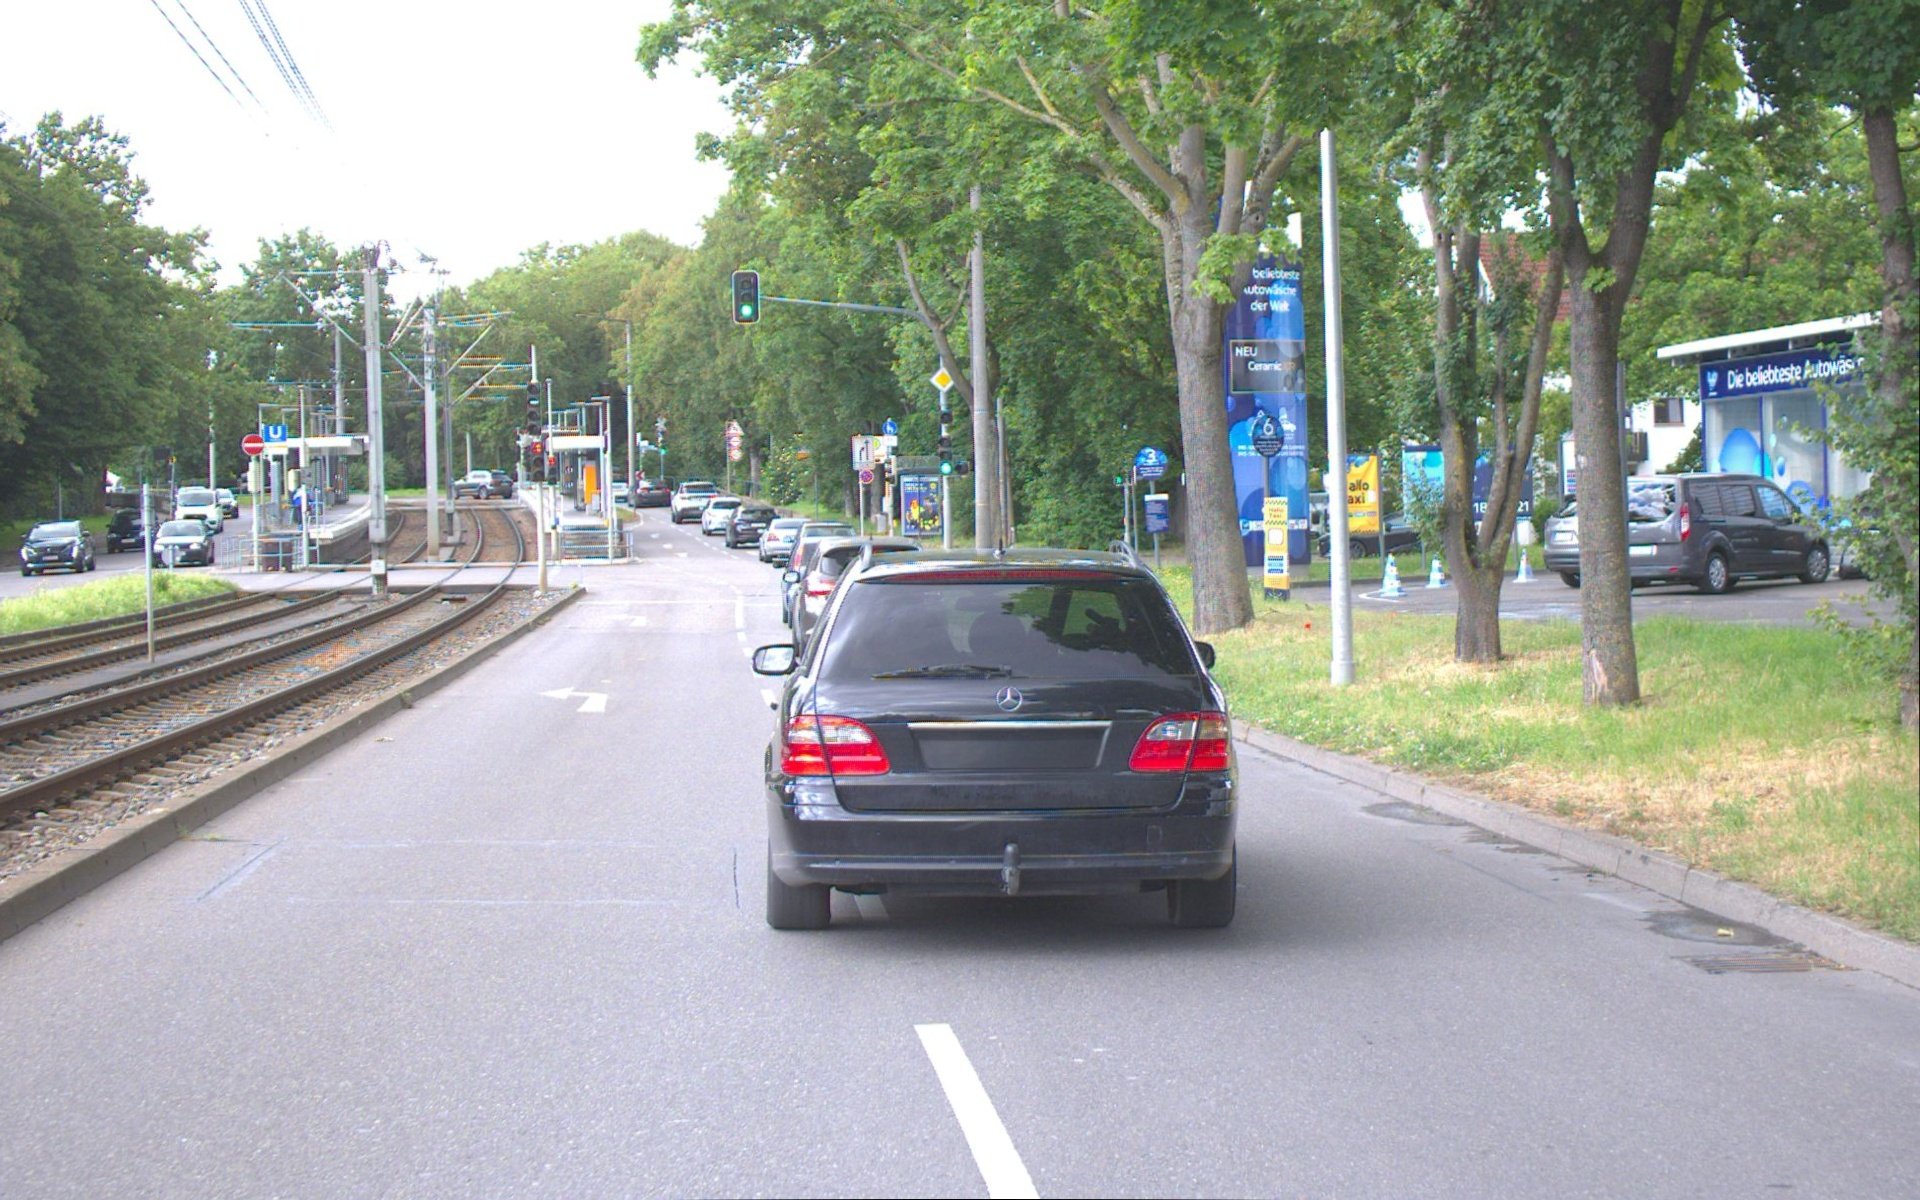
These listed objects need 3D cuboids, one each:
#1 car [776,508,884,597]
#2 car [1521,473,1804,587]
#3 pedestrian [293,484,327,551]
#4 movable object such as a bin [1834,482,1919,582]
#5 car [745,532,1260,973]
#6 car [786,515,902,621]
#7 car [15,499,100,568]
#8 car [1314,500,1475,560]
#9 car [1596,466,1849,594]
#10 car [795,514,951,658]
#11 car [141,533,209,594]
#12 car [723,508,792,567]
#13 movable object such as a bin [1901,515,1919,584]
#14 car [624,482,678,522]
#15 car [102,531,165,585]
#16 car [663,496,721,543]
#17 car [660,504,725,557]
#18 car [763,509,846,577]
[{"bbox_3d":[-2.960,-1.077,77.343,1.993,1.911,4.001,1,1,-8],"label":"car"},{"bbox_3d":[11.500,-1.167,56.287,4.198,1.691,1.841,-3,2,-22],"label":"car"},{"bbox_3d":[-21.349,-2.711,112.956,0.969,2.178,0.976,-1,2,-6],"label":"pedestrian"},{"bbox_3d":[14.144,-1.041,52.315,1.158,1.469,1.388,-2,1,-8],"label":"movable object such as a bin"},{"bbox_3d":[0.052,0.501,14.060,1.781,1.520,4.001,1,1,-3],"label":"car"},{"bbox_3d":[-1.884,-0.537,55.887,1.781,1.642,4.000,1,1,-2],"label":"car"},{"bbox_3d":[-27.374,-2.014,104.366,1.993,2.007,4.248,-2,1,-9],"label":"car"},{"bbox_3d":[11.796,-1.909,93.505,4.152,1.520,1.704,-1,1,1],"label":"car"},{"bbox_3d":[11.631,-1.083,52.274,1.750,1.815,4.373,-1,2,43],"label":"car"},{"bbox_3d":[-1.073,-0.197,41.975,1.781,1.642,4.000,1,1,-2],"label":"car"},{"bbox_3d":[-24.495,-1.160,107.339,1.696,1.854,4.001,1,1,-8],"label":"car"},{"bbox_3d":[-6.982,-2.160,118.118,1.993,1.960,4.001,1,1,-8],"label":"car"},{"bbox_3d":[14.272,-0.741,49.183,1.158,0.973,1.189,-2,1,-8],"label":"movable object such as a bin"},{"bbox_3d":[-15.997,-5.036,177.882,1.993,2.007,4.001,1,1,-16],"label":"car"},{"bbox_3d":[-32.008,-1.647,133.261,1.993,2.007,4.108,-2,1,-9],"label":"car"},{"bbox_3d":[-11.890,-3.548,152.326,1.993,2.007,4.001,1,1,-12],"label":"car"},{"bbox_3d":[-10.476,-2.712,134.620,1.993,2.007,4.001,1,1,-12],"label":"car"},{"bbox_3d":[-4.538,-1.658,99.872,1.993,1.886,4.001,1,1,-8],"label":"car"}]
